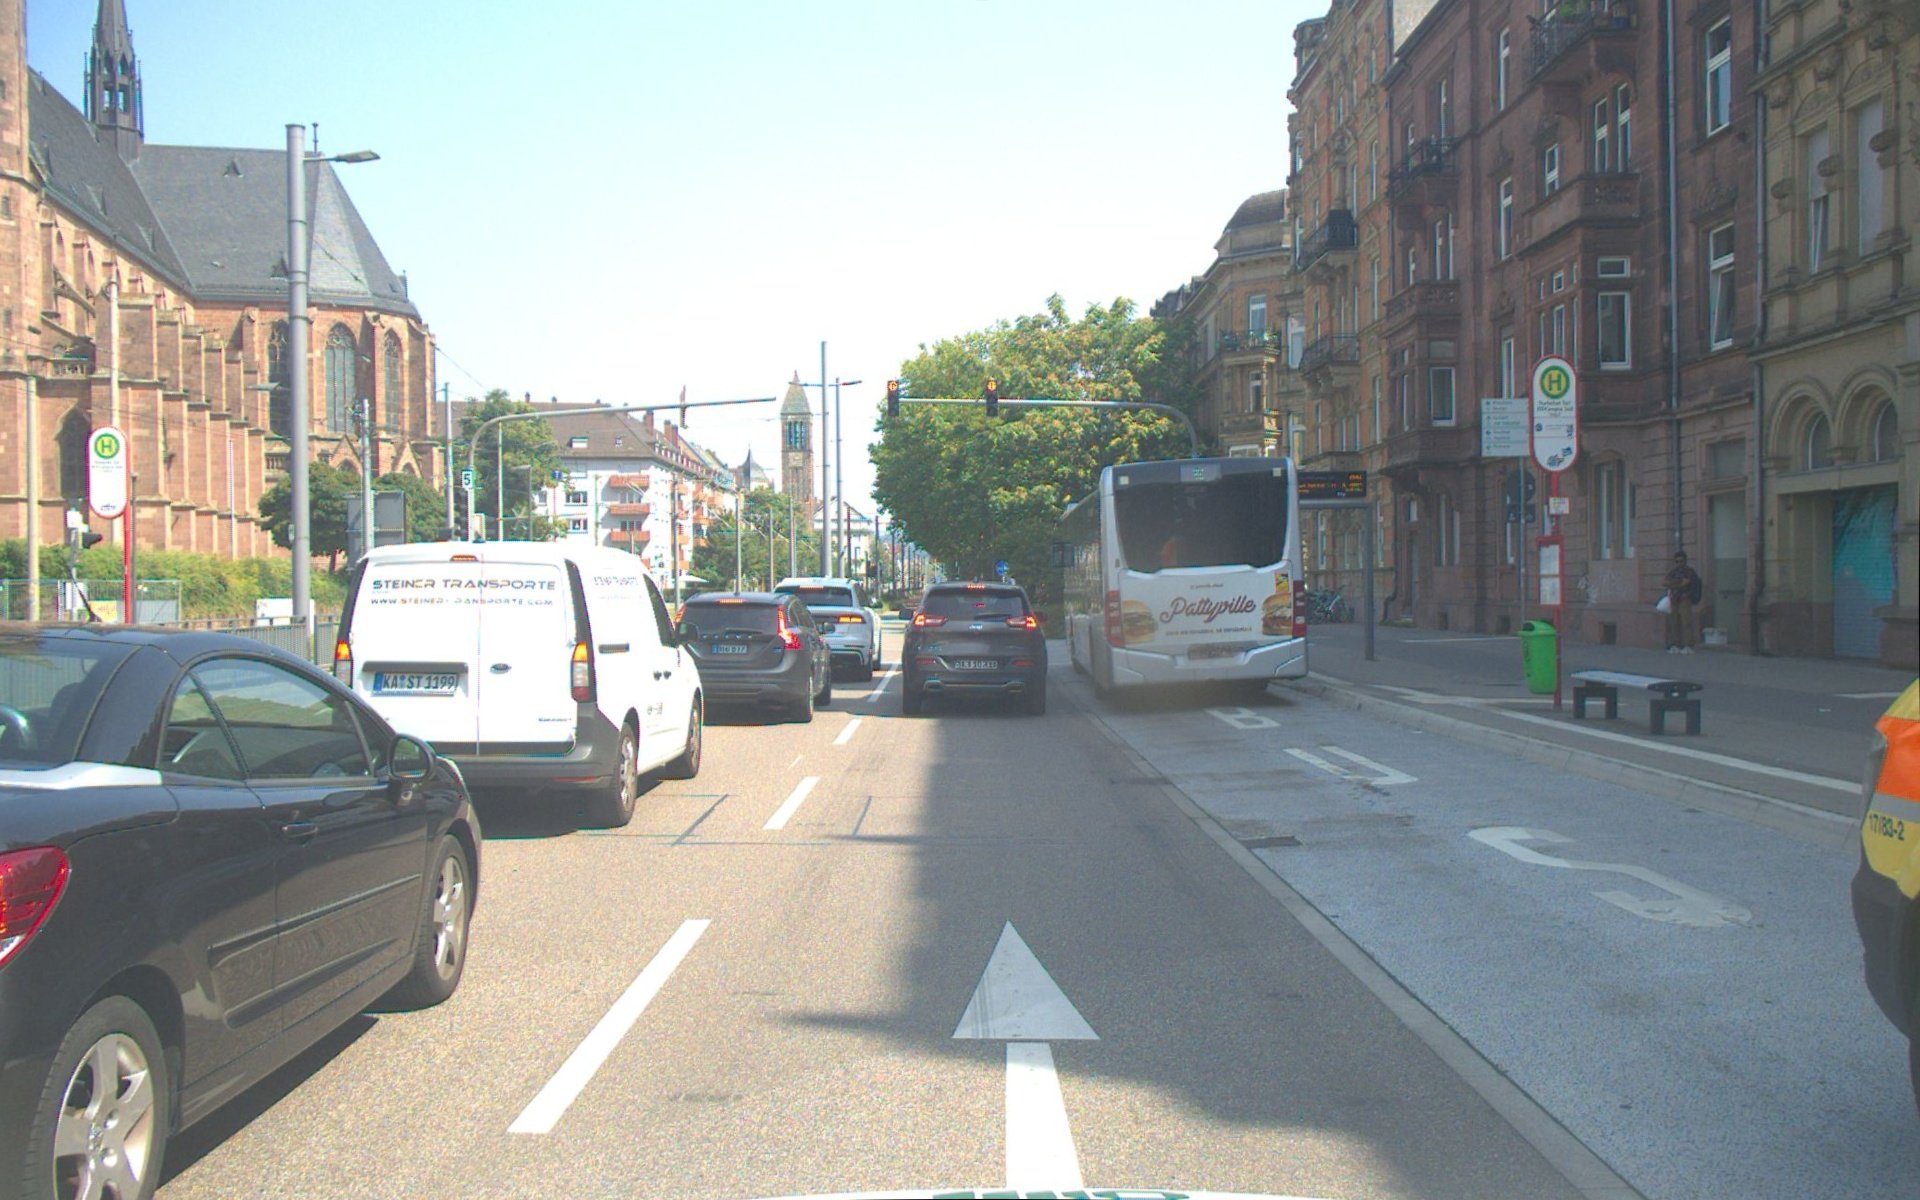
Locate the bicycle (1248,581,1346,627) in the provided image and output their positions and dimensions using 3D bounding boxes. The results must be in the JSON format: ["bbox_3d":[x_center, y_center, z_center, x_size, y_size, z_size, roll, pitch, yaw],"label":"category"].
[{"bbox_3d":[10.737,0.122,52.818,2.933,1.395,0.871,-1,0,-2],"label":"bicycle"}]

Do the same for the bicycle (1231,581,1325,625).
[{"bbox_3d":[10.683,0.094,55.622,2.943,1.397,0.947,-1,0,-2],"label":"bicycle"}]

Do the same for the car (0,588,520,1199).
[{"bbox_3d":[-2.560,0.688,4.705,1.654,1.438,3.801,0,0,-1],"label":"car"}]

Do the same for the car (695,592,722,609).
[{"bbox_3d":[-22.781,0.018,150.087,1.710,1.460,4.573,-2,1,0],"label":"car"}]

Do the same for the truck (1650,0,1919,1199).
[{"bbox_3d":[3.117,-0.017,1.718,2.280,2.818,6.340,-3,0,3],"label":"truck"}]

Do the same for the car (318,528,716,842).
[{"bbox_3d":[-2.932,0.490,11.903,1.711,1.852,4.239,0,0,0],"label":"car"}]

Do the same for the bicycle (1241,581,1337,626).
[{"bbox_3d":[10.686,0.116,53.731,2.933,1.395,0.871,-1,0,-2],"label":"bicycle"}]

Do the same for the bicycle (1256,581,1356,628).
[{"bbox_3d":[10.841,0.144,51.914,2.933,1.395,0.871,-1,0,-2],"label":"bicycle"}]

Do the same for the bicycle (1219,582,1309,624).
[{"bbox_3d":[10.581,0.091,57.725,2.943,1.397,0.947,-1,0,-2],"label":"bicycle"}]

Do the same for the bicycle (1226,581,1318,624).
[{"bbox_3d":[10.680,0.092,56.716,2.943,1.397,0.947,-1,0,-2],"label":"bicycle"}]

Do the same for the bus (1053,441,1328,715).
[{"bbox_3d":[3.118,-0.300,25.965,2.687,3.161,11.957,-3,0,1],"label":"bus"}]

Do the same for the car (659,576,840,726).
[{"bbox_3d":[-2.480,0.546,20.420,1.712,1.642,4.308,0,0,-1],"label":"car"}]

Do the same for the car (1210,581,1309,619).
[{"bbox_3d":[12.911,0.008,71.424,3.858,1.547,1.680,-1,0,-8],"label":"car"}]

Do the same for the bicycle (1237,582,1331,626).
[{"bbox_3d":[10.696,0.123,54.678,2.933,1.395,0.871,-1,0,-2],"label":"bicycle"}]

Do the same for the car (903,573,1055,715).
[{"bbox_3d":[0.242,0.504,21.872,1.795,1.680,4.308,1,0,0],"label":"car"}]

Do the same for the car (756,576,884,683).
[{"bbox_3d":[-2.308,0.448,28.232,1.863,1.680,4.308,0,1,-1],"label":"car"}]

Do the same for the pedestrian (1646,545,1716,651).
[{"bbox_3d":[12.507,-0.046,28.682,0.858,1.809,0.736,-1,0,-28],"label":"pedestrian"}]
